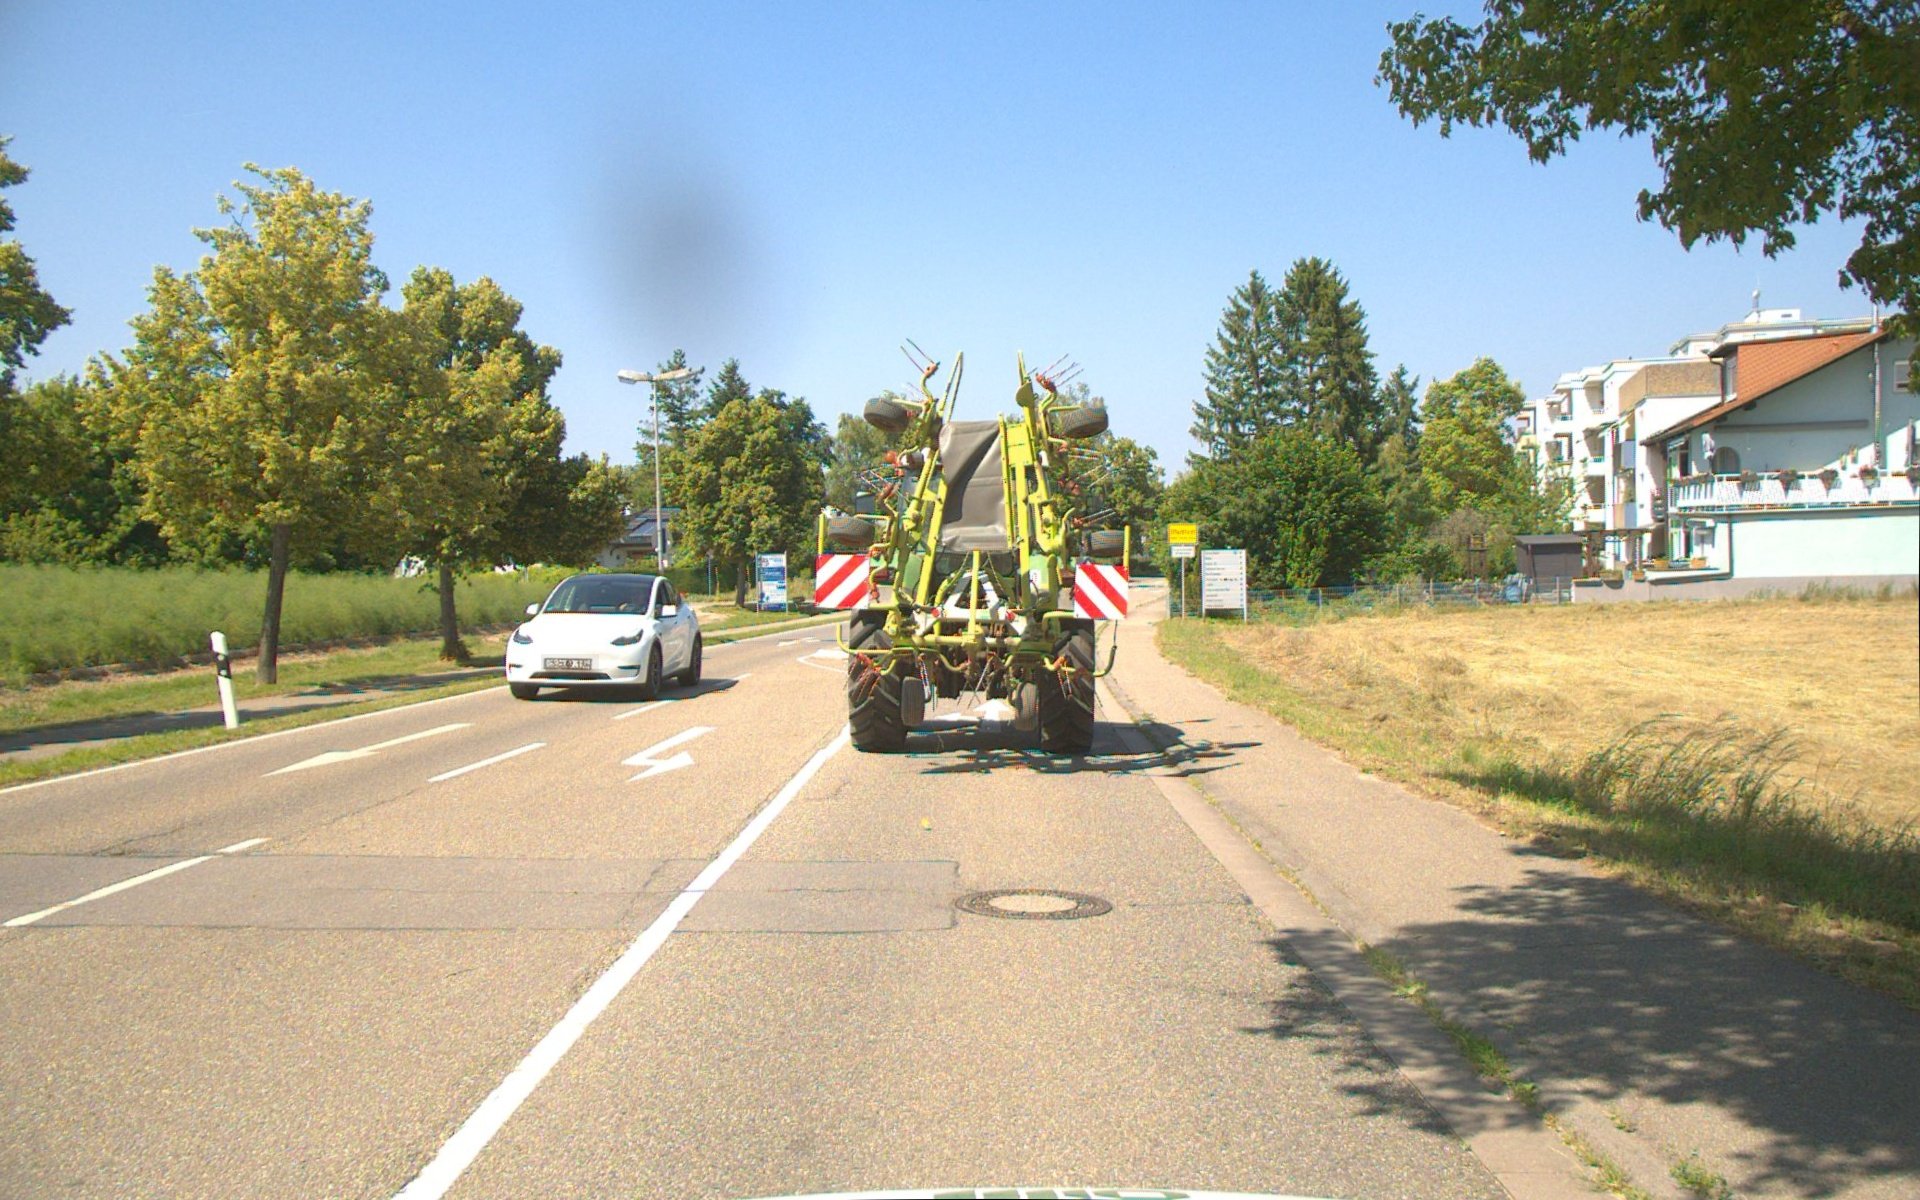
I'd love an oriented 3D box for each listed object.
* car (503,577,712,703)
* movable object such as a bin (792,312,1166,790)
[{"bbox_3d":[-4.819,0.476,23.285,1.837,1.599,4.473,0,1,2],"label":"car"},{"bbox_3d":[0.130,-0.479,17.507,2.794,3.603,9.701,1,1,0],"label":"movable object such as a bin"}]
